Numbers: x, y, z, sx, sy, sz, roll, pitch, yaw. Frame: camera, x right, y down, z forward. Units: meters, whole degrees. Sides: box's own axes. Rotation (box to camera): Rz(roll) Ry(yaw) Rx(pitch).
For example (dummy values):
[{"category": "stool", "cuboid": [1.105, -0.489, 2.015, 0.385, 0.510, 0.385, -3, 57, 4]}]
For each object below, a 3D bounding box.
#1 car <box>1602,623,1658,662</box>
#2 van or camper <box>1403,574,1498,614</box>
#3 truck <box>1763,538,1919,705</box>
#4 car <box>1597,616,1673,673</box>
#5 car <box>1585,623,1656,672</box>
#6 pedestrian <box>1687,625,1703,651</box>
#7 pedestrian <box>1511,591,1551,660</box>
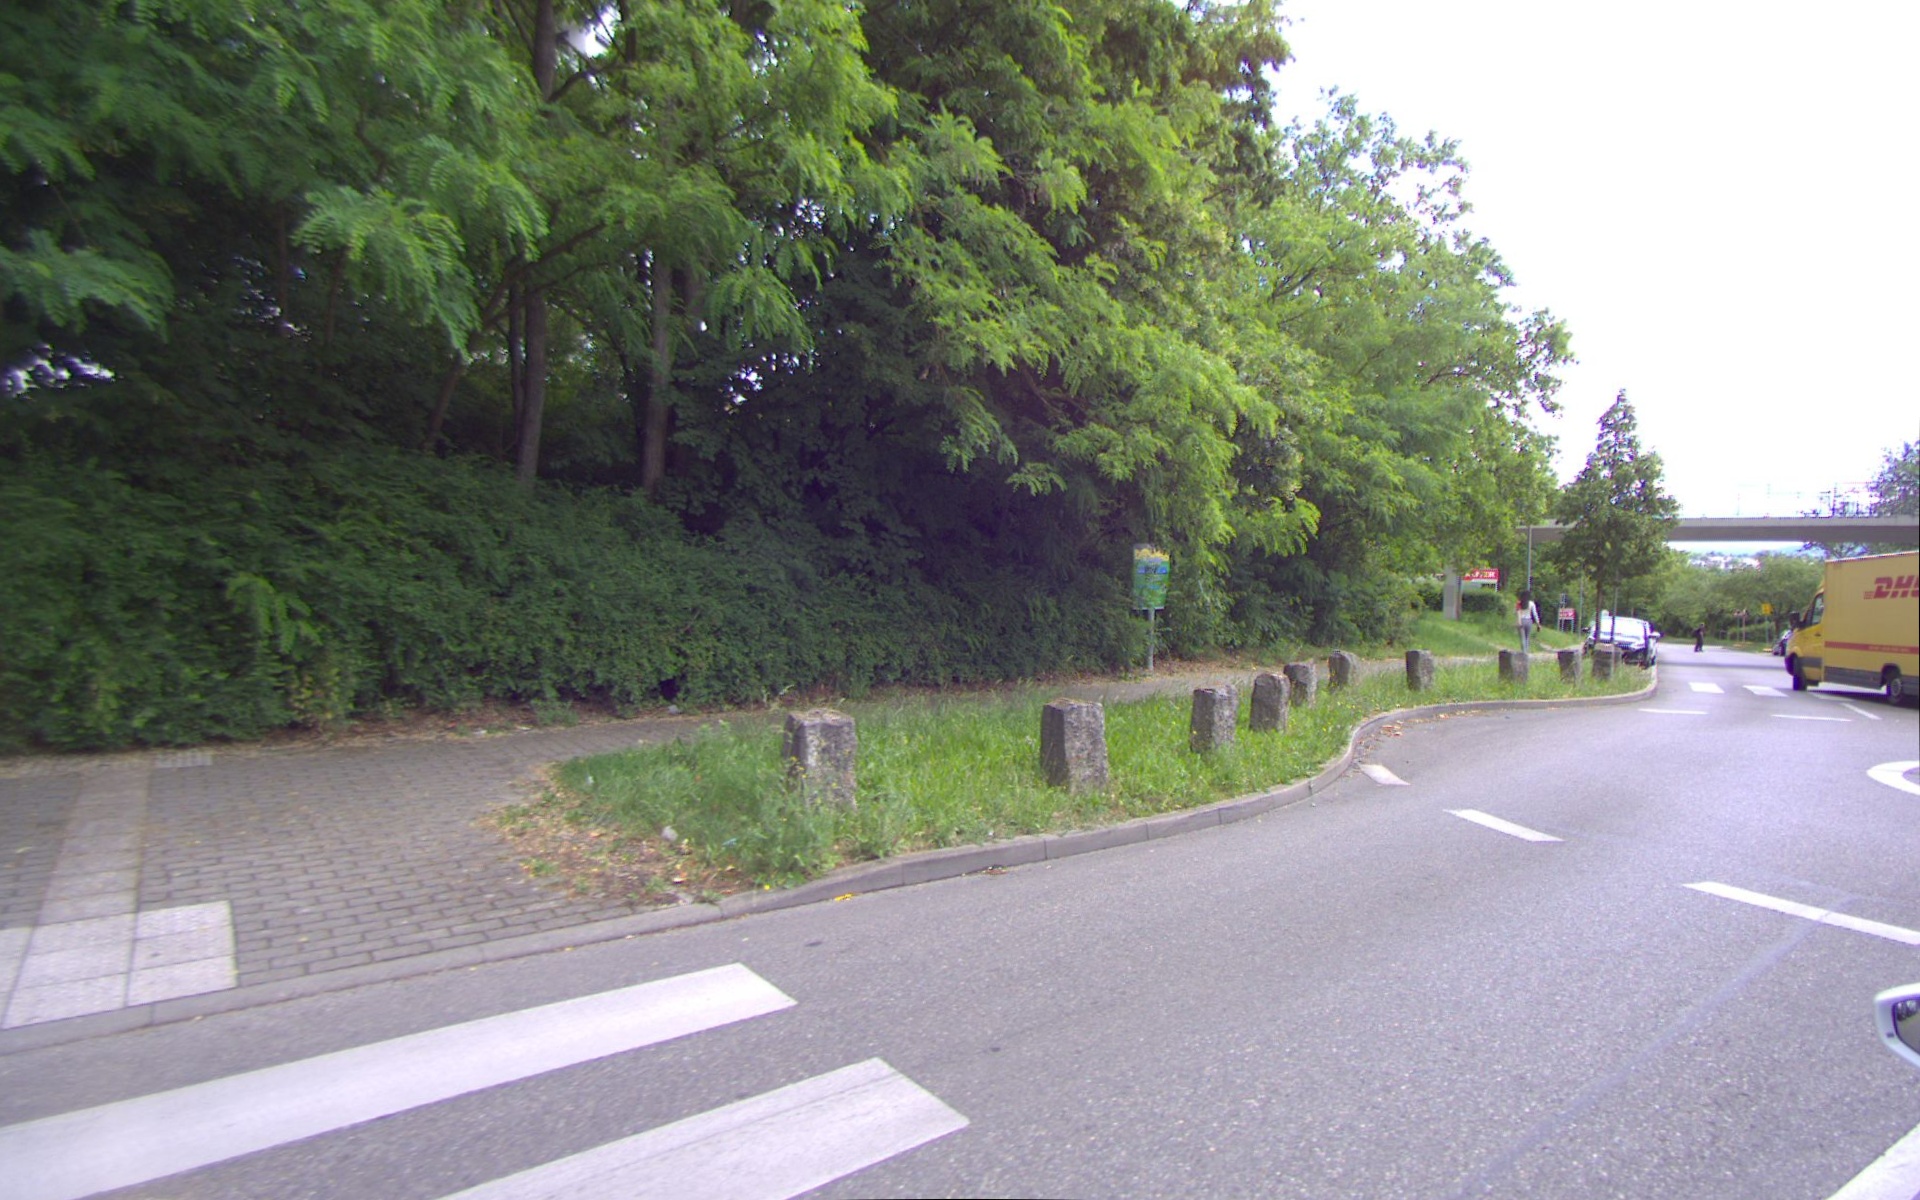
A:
[{"category": "car", "cuboid": [29.775, 1.857, 44.758, 1.858, 1.529, 4.442, 3, 0, 32]}, {"category": "van or camper", "cuboid": [28.679, -0.384, 58.806, 4.784, 2.114, 1.996, 3, 2, 31]}, {"category": "truck", "cuboid": [17.872, 0.442, 18.752, 2.426, 2.738, 6.823, 3, 0, 21]}, {"category": "car", "cuboid": [20.467, 1.290, 30.576, 1.761, 1.488, 3.989, 3, 2, 33]}, {"category": "car", "cuboid": [23.072, 1.610, 35.027, 1.860, 1.480, 3.533, 3, 2, 36]}, {"category": "pedestrian", "cuboid": [45.414, 2.335, 62.045, 0.708, 1.562, 0.553, 3, 2, 34]}, {"category": "pedestrian", "cuboid": [14.843, 0.647, 26.109, 0.725, 1.745, 0.660, 2, 2, 19]}]
